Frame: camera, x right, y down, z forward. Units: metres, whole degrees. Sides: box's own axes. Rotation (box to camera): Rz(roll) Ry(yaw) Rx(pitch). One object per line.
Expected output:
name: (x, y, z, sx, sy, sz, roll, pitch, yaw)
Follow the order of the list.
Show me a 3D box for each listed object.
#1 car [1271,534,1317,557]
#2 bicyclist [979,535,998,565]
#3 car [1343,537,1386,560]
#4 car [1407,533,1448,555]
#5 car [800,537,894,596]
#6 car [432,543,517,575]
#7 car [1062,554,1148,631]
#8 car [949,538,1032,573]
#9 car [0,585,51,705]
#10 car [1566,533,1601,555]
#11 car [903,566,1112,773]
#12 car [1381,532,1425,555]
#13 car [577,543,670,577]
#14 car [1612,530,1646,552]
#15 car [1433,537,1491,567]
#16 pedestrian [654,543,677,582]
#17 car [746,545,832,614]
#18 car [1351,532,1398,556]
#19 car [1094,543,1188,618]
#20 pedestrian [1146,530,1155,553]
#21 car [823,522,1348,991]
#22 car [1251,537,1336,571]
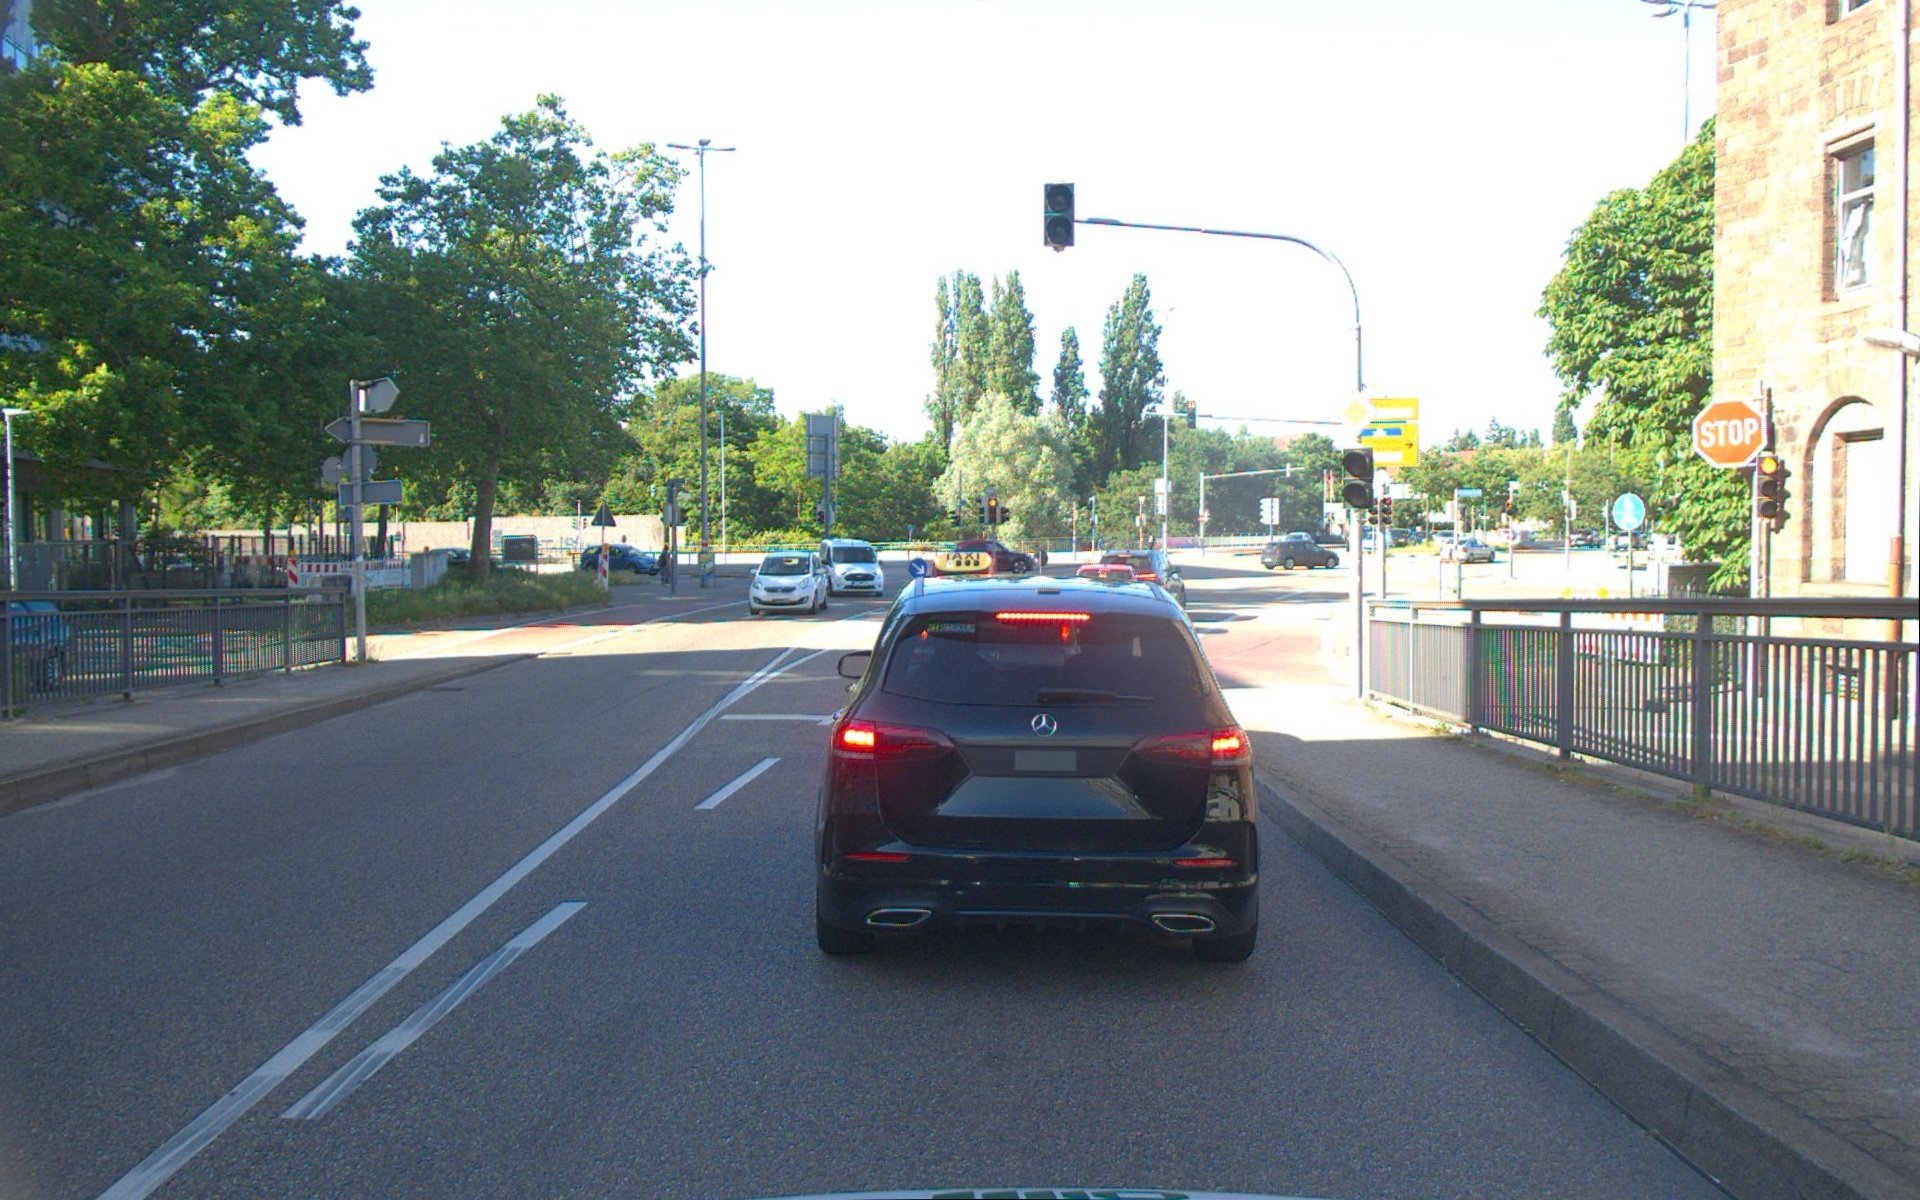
car: (24.011, -3.915, 118.674, 1.846, 1.605, 3.988, 1, 3, 34)
bicyclist: (1.519, -2.652, 87.841, 0.800, 1.578, 0.519, -3, 2, -41)
car: (30.032, -3.816, 122.621, 1.846, 1.605, 3.988, 1, 3, 34)
car: (35.310, -4.231, 124.821, 1.846, 1.605, 3.988, 1, 3, 34)
car: (-3.847, -1.148, 55.559, 1.889, 1.825, 4.872, -2, 2, -19)
car: (-25.652, -2.139, 87.377, 4.314, 1.658, 1.888, 0, 2, 30)
car: (3.317, -0.212, 37.431, 1.685, 1.548, 3.490, 0, 3, 9)
car: (1.417, -2.122, 78.883, 3.906, 1.658, 1.891, 0, 1, -1)
car: (-14.964, 0.703, 23.608, 1.814, 1.722, 4.000, 0, 2, -1)
car: (48.905, -4.381, 129.656, 1.851, 1.574, 3.990, 1, 0, 32)
car: (0.400, 0.508, 14.707, 1.606, 1.556, 3.475, -1, 2, 1)
car: (31.803, -4.064, 118.605, 1.846, 1.605, 3.988, 1, 3, 34)
car: (-16.657, -1.990, 81.920, 4.313, 1.658, 1.888, 0, 2, 29)
car: (49.801, -4.369, 123.049, 1.707, 1.524, 3.990, 0, 0, 32)
car: (28.229, -2.719, 92.969, 1.855, 1.658, 3.982, 1, 2, 38)
pedestrian: (-11.682, -1.494, 65.675, 0.690, 1.552, 0.744, 1, 1, 9)
car: (-4.551, -0.594, 44.600, 1.741, 1.663, 4.002, -1, 3, 2)
car: (28.447, -3.858, 113.366, 1.846, 1.605, 3.988, 1, 3, 34)
car: (4.774, -0.546, 43.116, 1.685, 1.843, 4.301, 0, 2, 16)
pedestrian: (13.526, -4.173, 117.479, 0.443, 1.613, 0.499, 0, 2, 39)
car: (0.403, 0.526, 7.854, 1.840, 1.641, 3.999, 1, 1, -1)
car: (16.845, -2.328, 83.476, 3.943, 1.658, 1.873, -1, 2, -29)
